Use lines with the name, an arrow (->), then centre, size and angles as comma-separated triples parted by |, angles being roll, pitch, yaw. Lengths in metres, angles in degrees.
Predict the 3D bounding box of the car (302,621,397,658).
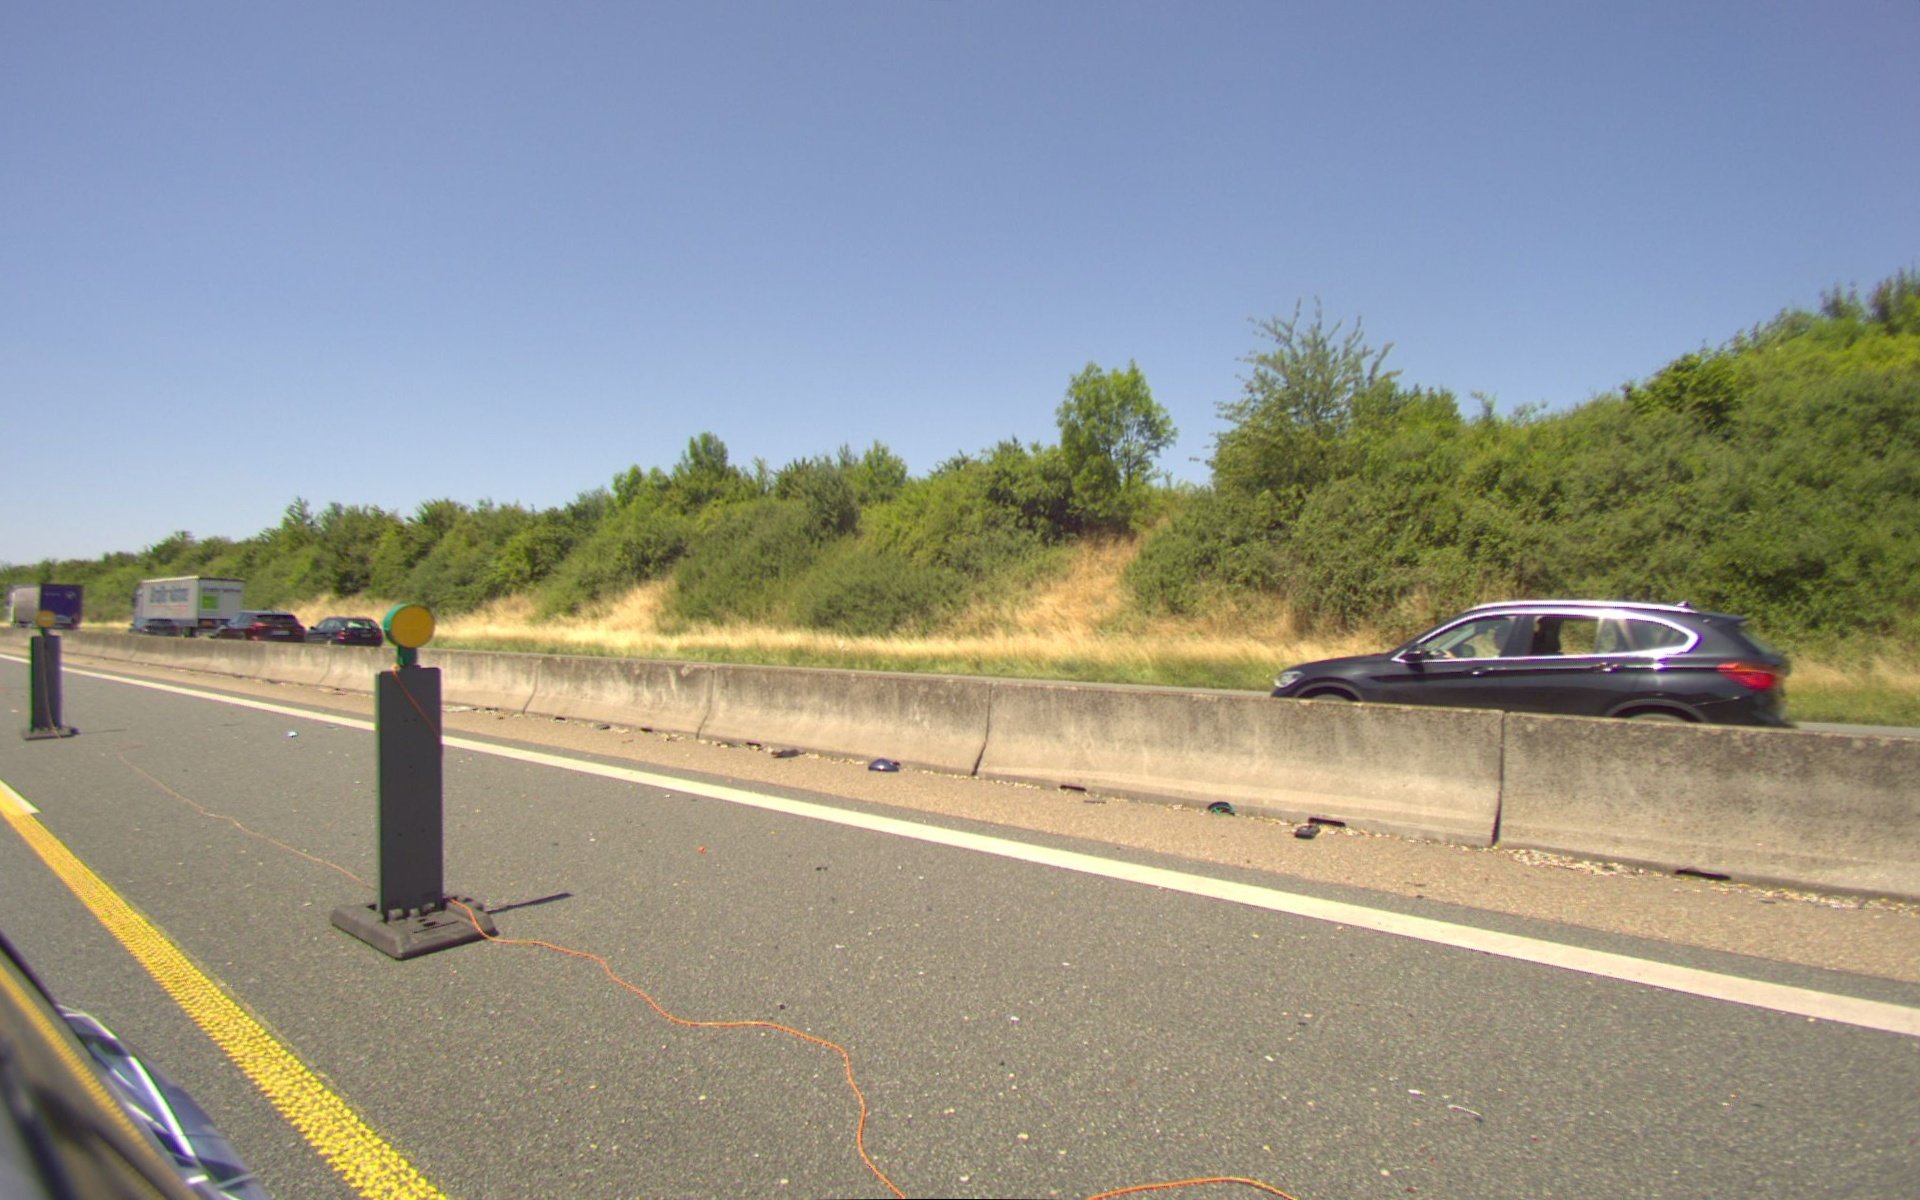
car -> -25.298, 1.595, 41.858 | 4.583, 1.471, 1.973 | -1, -2, 40

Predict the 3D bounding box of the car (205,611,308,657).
car -> -24.444, 1.156, 35.088 | 4.485, 1.471, 1.830 | -1, -2, 40

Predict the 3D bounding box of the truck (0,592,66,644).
truck -> -78.551, 1.512, 85.638 | 7.407, 4.257, 3.133 | -1, -1, 39

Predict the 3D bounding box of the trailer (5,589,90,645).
trailer -> -73.983, 1.406, 81.875 | 13.671, 4.212, 3.128 | -1, -2, 40

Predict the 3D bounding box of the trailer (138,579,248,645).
trailer -> -52.632, 0.874, 69.214 | 13.626, 4.093, 2.923 | -1, -3, 40

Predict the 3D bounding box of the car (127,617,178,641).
car -> -47.903, 1.702, 60.018 | 4.084, 1.407, 1.488 | -1, -2, 38

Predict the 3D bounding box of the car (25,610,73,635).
car -> -54.558, 1.326, 60.582 | 3.986, 1.453, 1.600 | -1, -2, 40

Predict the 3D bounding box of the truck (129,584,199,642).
truck -> -57.917, 0.985, 73.635 | 5.192, 4.108, 2.916 | -1, -2, 40

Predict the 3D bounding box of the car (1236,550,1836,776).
car -> 5.158, 0.492, 9.492 | 4.580, 1.612, 1.973 | -1, -2, 41
